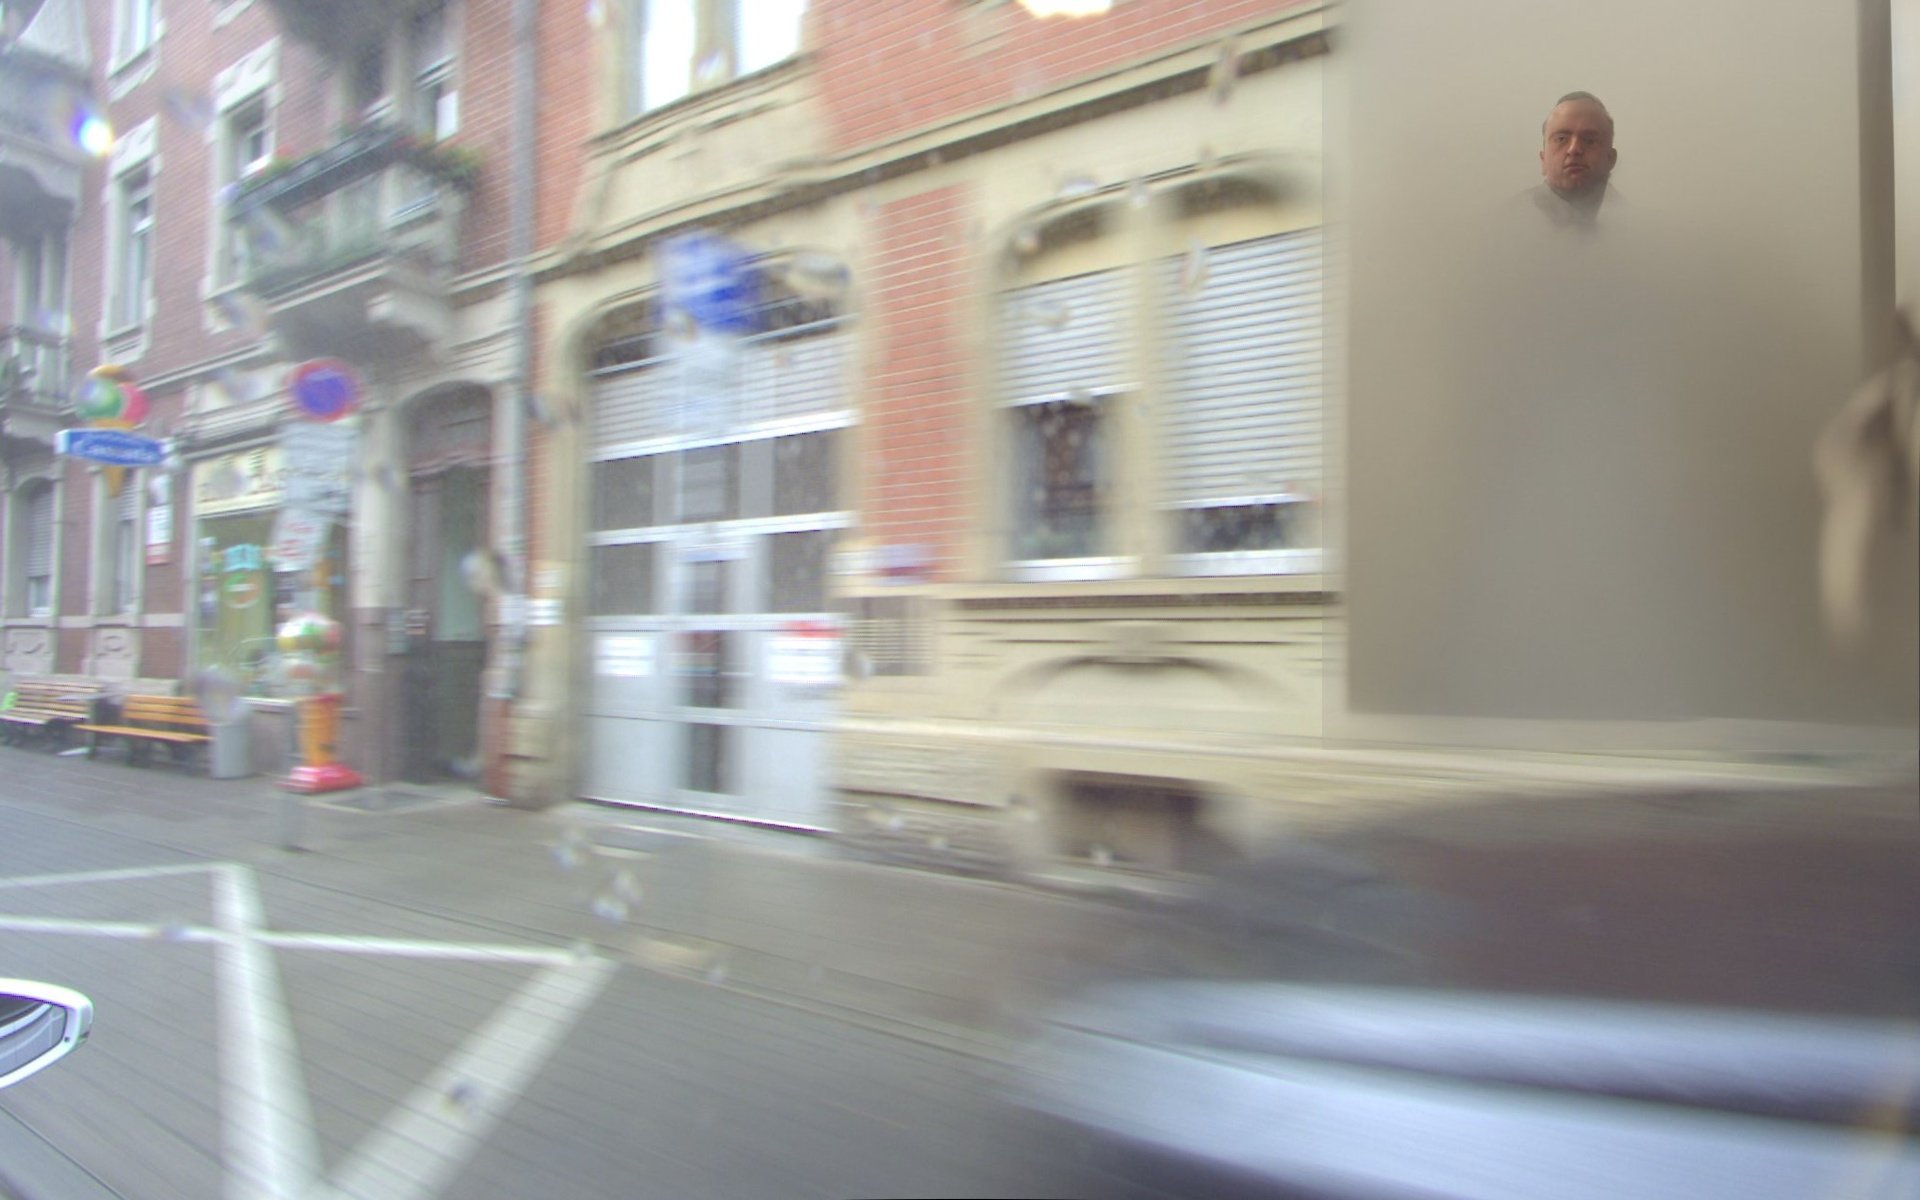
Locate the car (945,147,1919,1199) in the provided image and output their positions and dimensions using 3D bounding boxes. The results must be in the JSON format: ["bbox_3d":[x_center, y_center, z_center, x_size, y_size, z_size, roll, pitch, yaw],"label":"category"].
[{"bbox_3d":[2.519,0.581,0.762,4.756,1.802,1.991,-1,-2,31],"label":"car"}]
